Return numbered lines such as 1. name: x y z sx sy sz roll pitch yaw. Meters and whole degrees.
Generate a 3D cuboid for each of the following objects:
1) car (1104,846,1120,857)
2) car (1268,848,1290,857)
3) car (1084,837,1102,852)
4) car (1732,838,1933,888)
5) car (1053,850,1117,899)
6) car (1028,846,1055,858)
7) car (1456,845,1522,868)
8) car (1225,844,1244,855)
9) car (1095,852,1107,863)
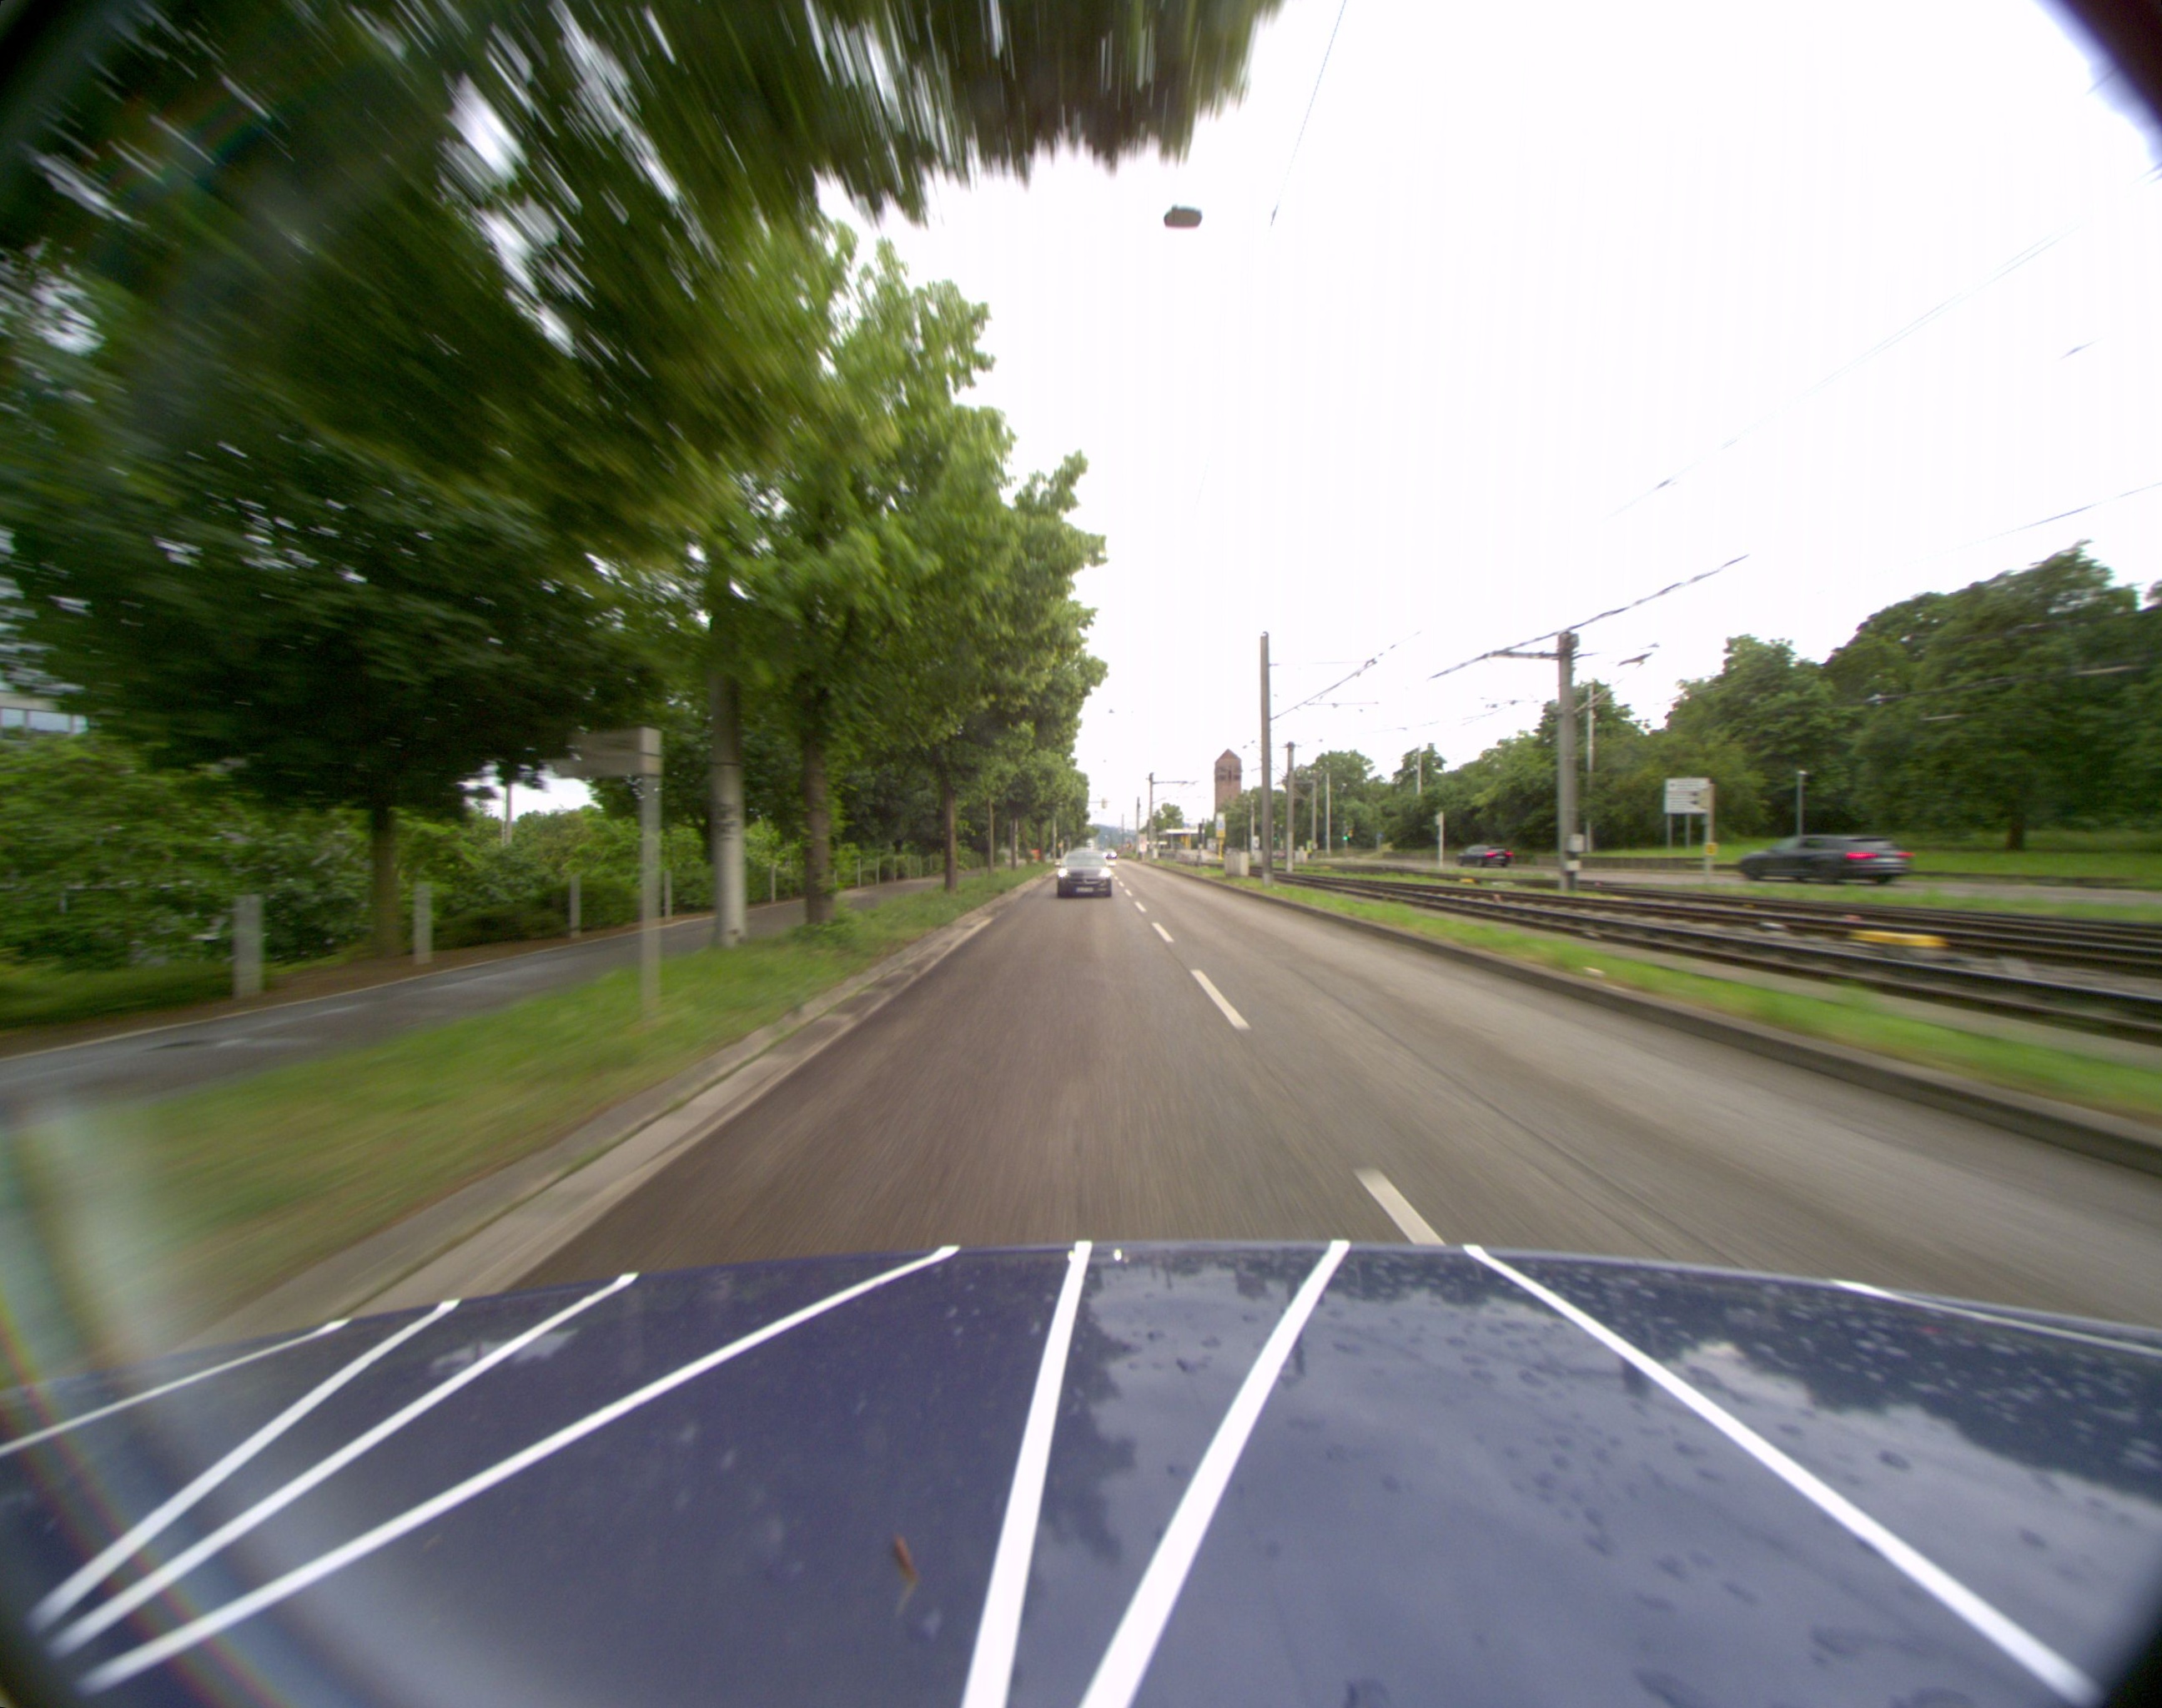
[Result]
1. car: 4.119 -0.335 101.190 1.899 1.432 4.246 -1 0 1
2. car: 27.564 -0.223 106.144 1.932 1.254 4.473 0 1 0
3. car: 1.331 -1.049 86.671 1.998 1.608 4.000 -1 1 1
4. car: 26.068 0.272 26.703 2.094 1.580 5.159 0 1 3
5. car: 0.155 0.624 24.902 1.899 1.432 4.474 -1 0 1
6. car: -7.663 -0.386 147.836 1.994 2.179 5.041 0 1 43
7. car: 26.698 0.150 49.896 1.931 1.438 4.682 0 1 1
8. car: 24.837 -0.794 123.185 2.088 1.729 4.862 0 1 0
9. car: 3.097 0.551 119.613 1.812 1.566 3.971 -1 1 1
